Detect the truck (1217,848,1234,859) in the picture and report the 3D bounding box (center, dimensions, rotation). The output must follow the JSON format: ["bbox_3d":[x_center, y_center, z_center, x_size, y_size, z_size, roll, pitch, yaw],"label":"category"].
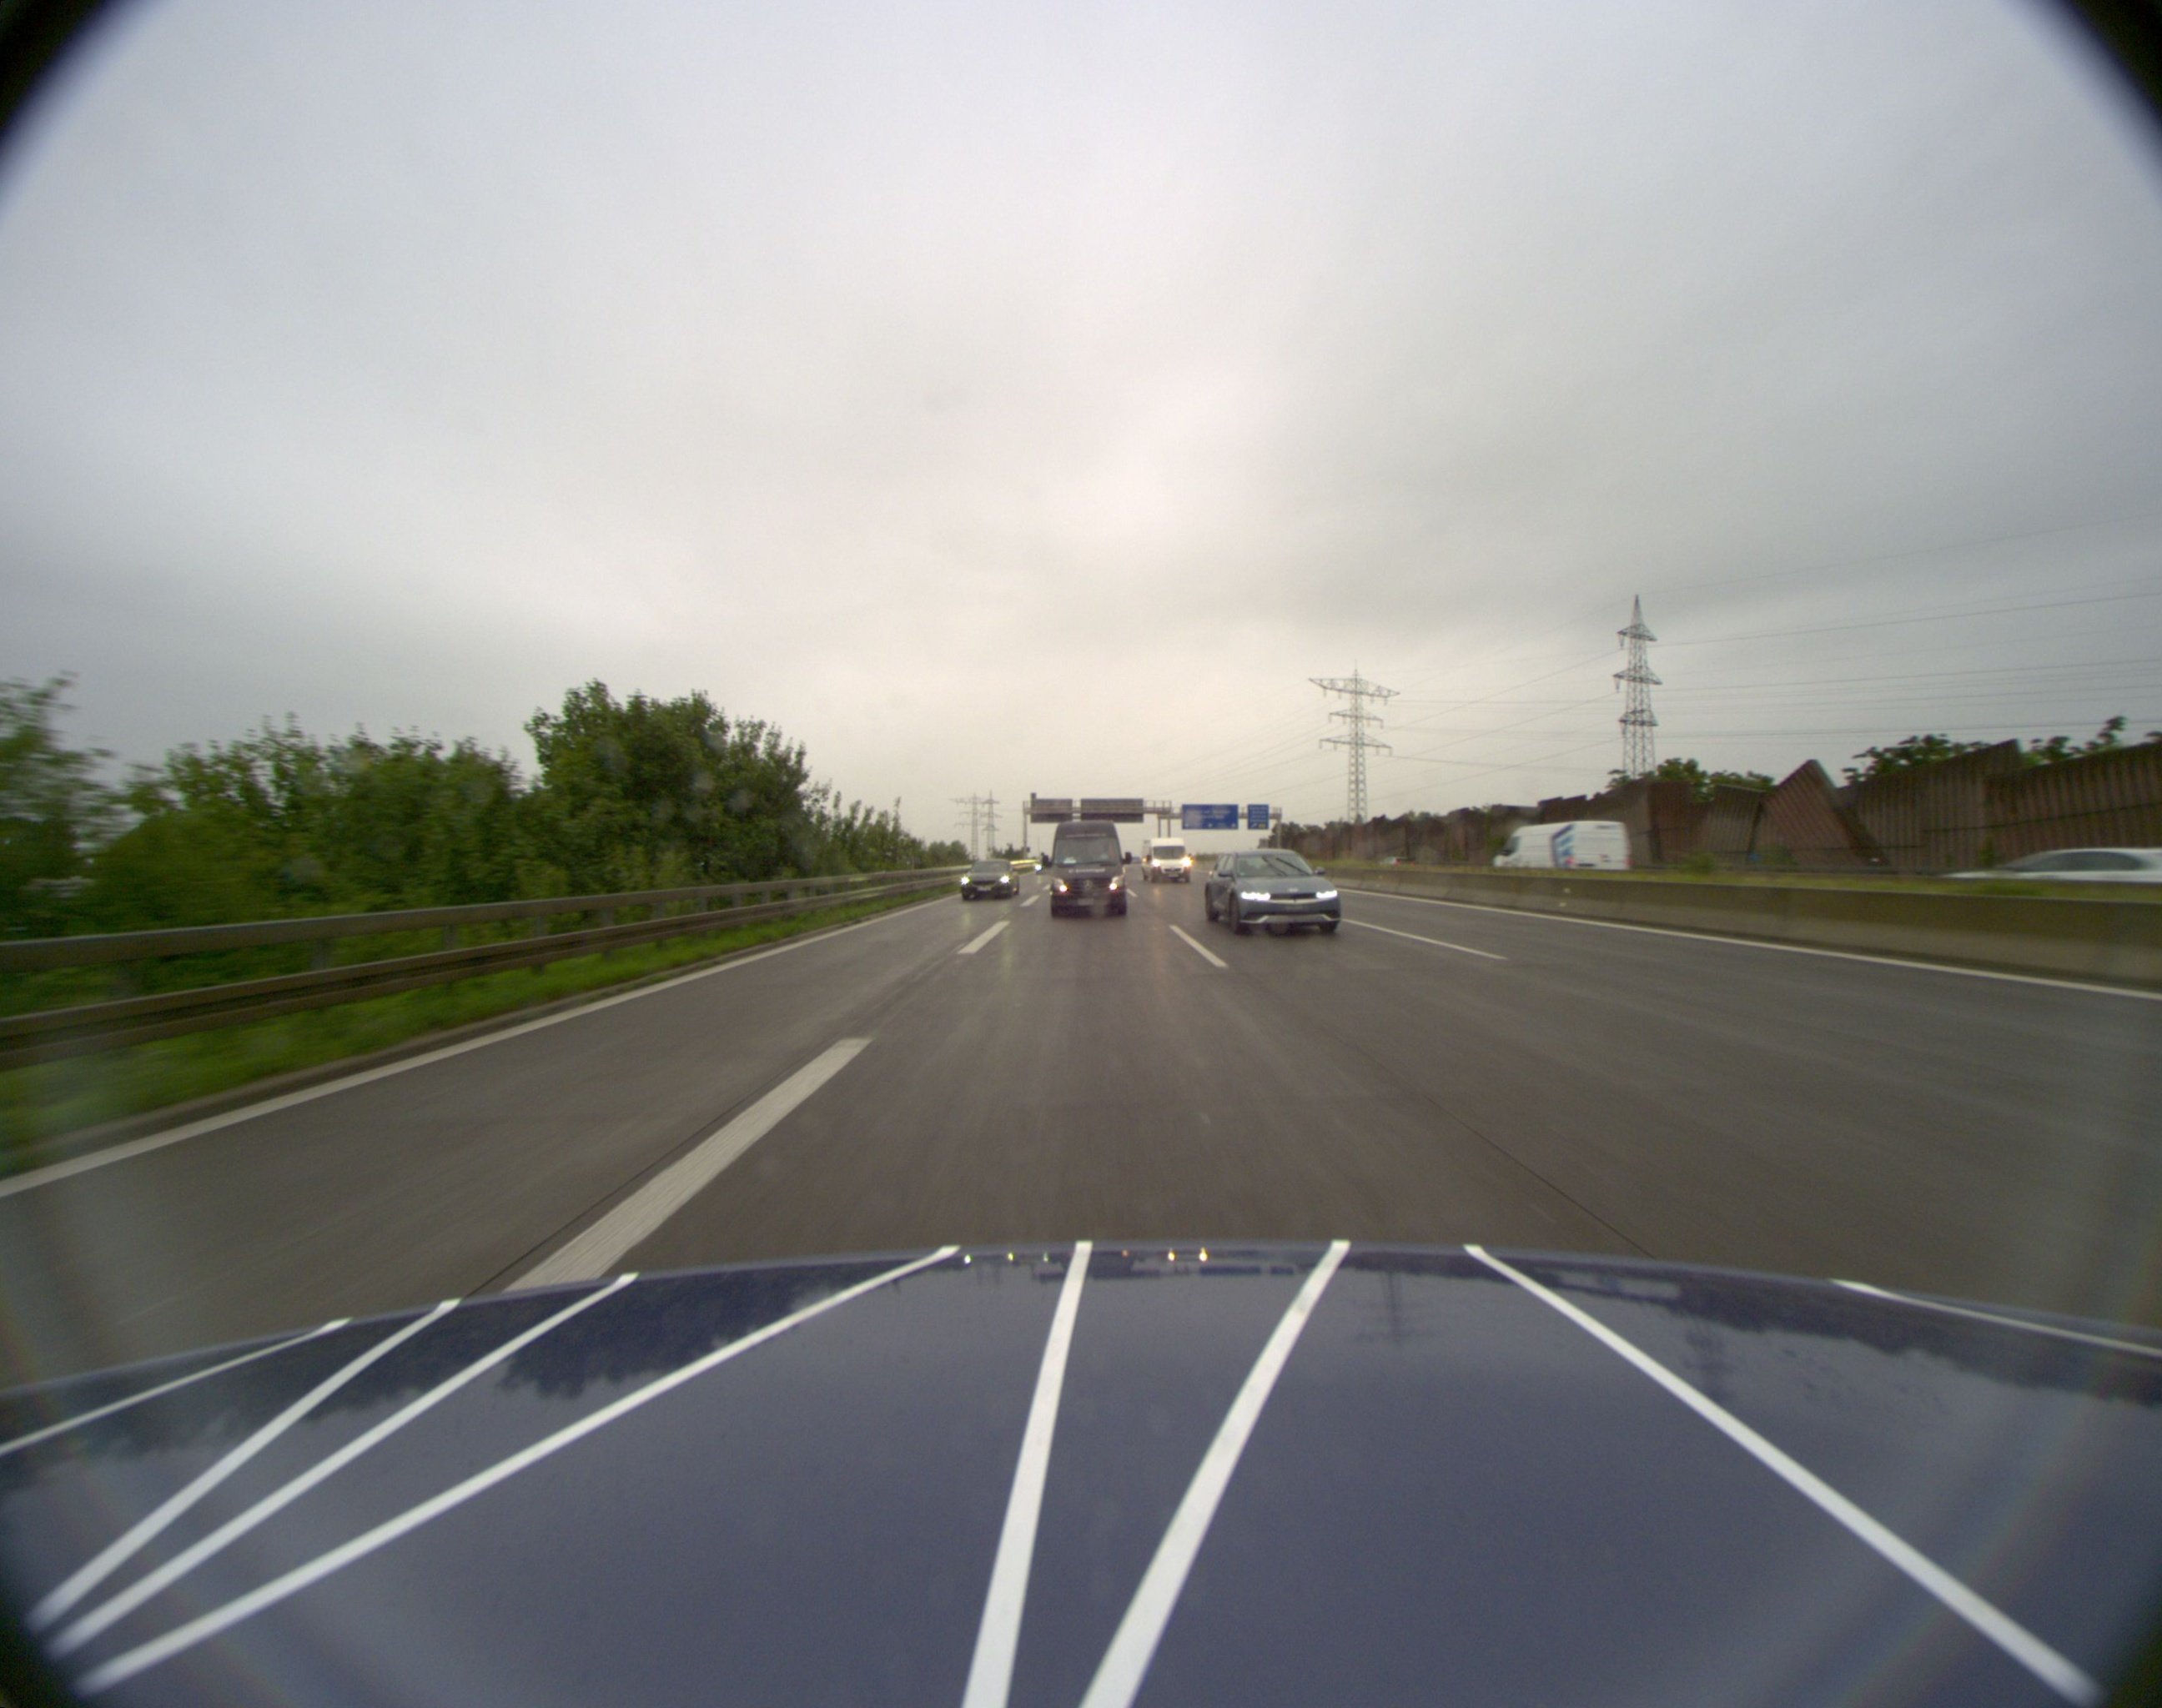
[{"bbox_3d":[24.665,-0.054,129.488,1.998,1.729,5.016,-1,0,1],"label":"truck"}]

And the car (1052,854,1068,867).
[{"bbox_3d":[-2.721,0.856,100.787,1.998,1.706,4.000,1,0,0],"label":"car"}]

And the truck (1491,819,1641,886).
[{"bbox_3d":[17.578,-0.057,27.962,2.150,2.193,5.419,-1,0,1],"label":"truck"}]

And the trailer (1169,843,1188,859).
[{"bbox_3d":[25.831,-0.734,201.797,3.064,4.162,13.569,-2,0,0],"label":"trailer"}]

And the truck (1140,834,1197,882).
[{"bbox_3d":[4.849,0.215,43.125,2.243,2.464,6.582,-2,0,-1],"label":"truck"}]

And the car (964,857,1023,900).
[{"bbox_3d":[-3.418,0.931,30.294,1.862,1.531,4.203,-2,-1,-1],"label":"car"}]

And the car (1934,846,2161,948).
[{"bbox_3d":[19.828,0.742,14.555,1.998,1.729,4.466,-1,0,1],"label":"car"}]

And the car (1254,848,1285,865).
[{"bbox_3d":[20.455,0.256,82.514,1.999,1.774,5.209,-1,0,0],"label":"car"}]

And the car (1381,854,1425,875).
[{"bbox_3d":[28.005,0.885,66.264,1.999,1.774,4.290,-1,0,0],"label":"car"}]

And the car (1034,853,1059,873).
[{"bbox_3d":[-3.053,0.760,67.180,1.998,1.706,4.000,1,0,0],"label":"car"}]

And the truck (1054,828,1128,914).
[{"bbox_3d":[0.187,0.443,23.839,1.999,2.324,6.109,-1,0,-2],"label":"truck"}]

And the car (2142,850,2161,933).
[{"bbox_3d":[23.537,0.779,14.020,1.998,1.729,4.264,-1,0,1],"label":"car"}]

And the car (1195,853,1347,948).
[{"bbox_3d":[3.727,0.816,15.905,1.843,1.585,5.155,-1,0,0],"label":"car"}]
